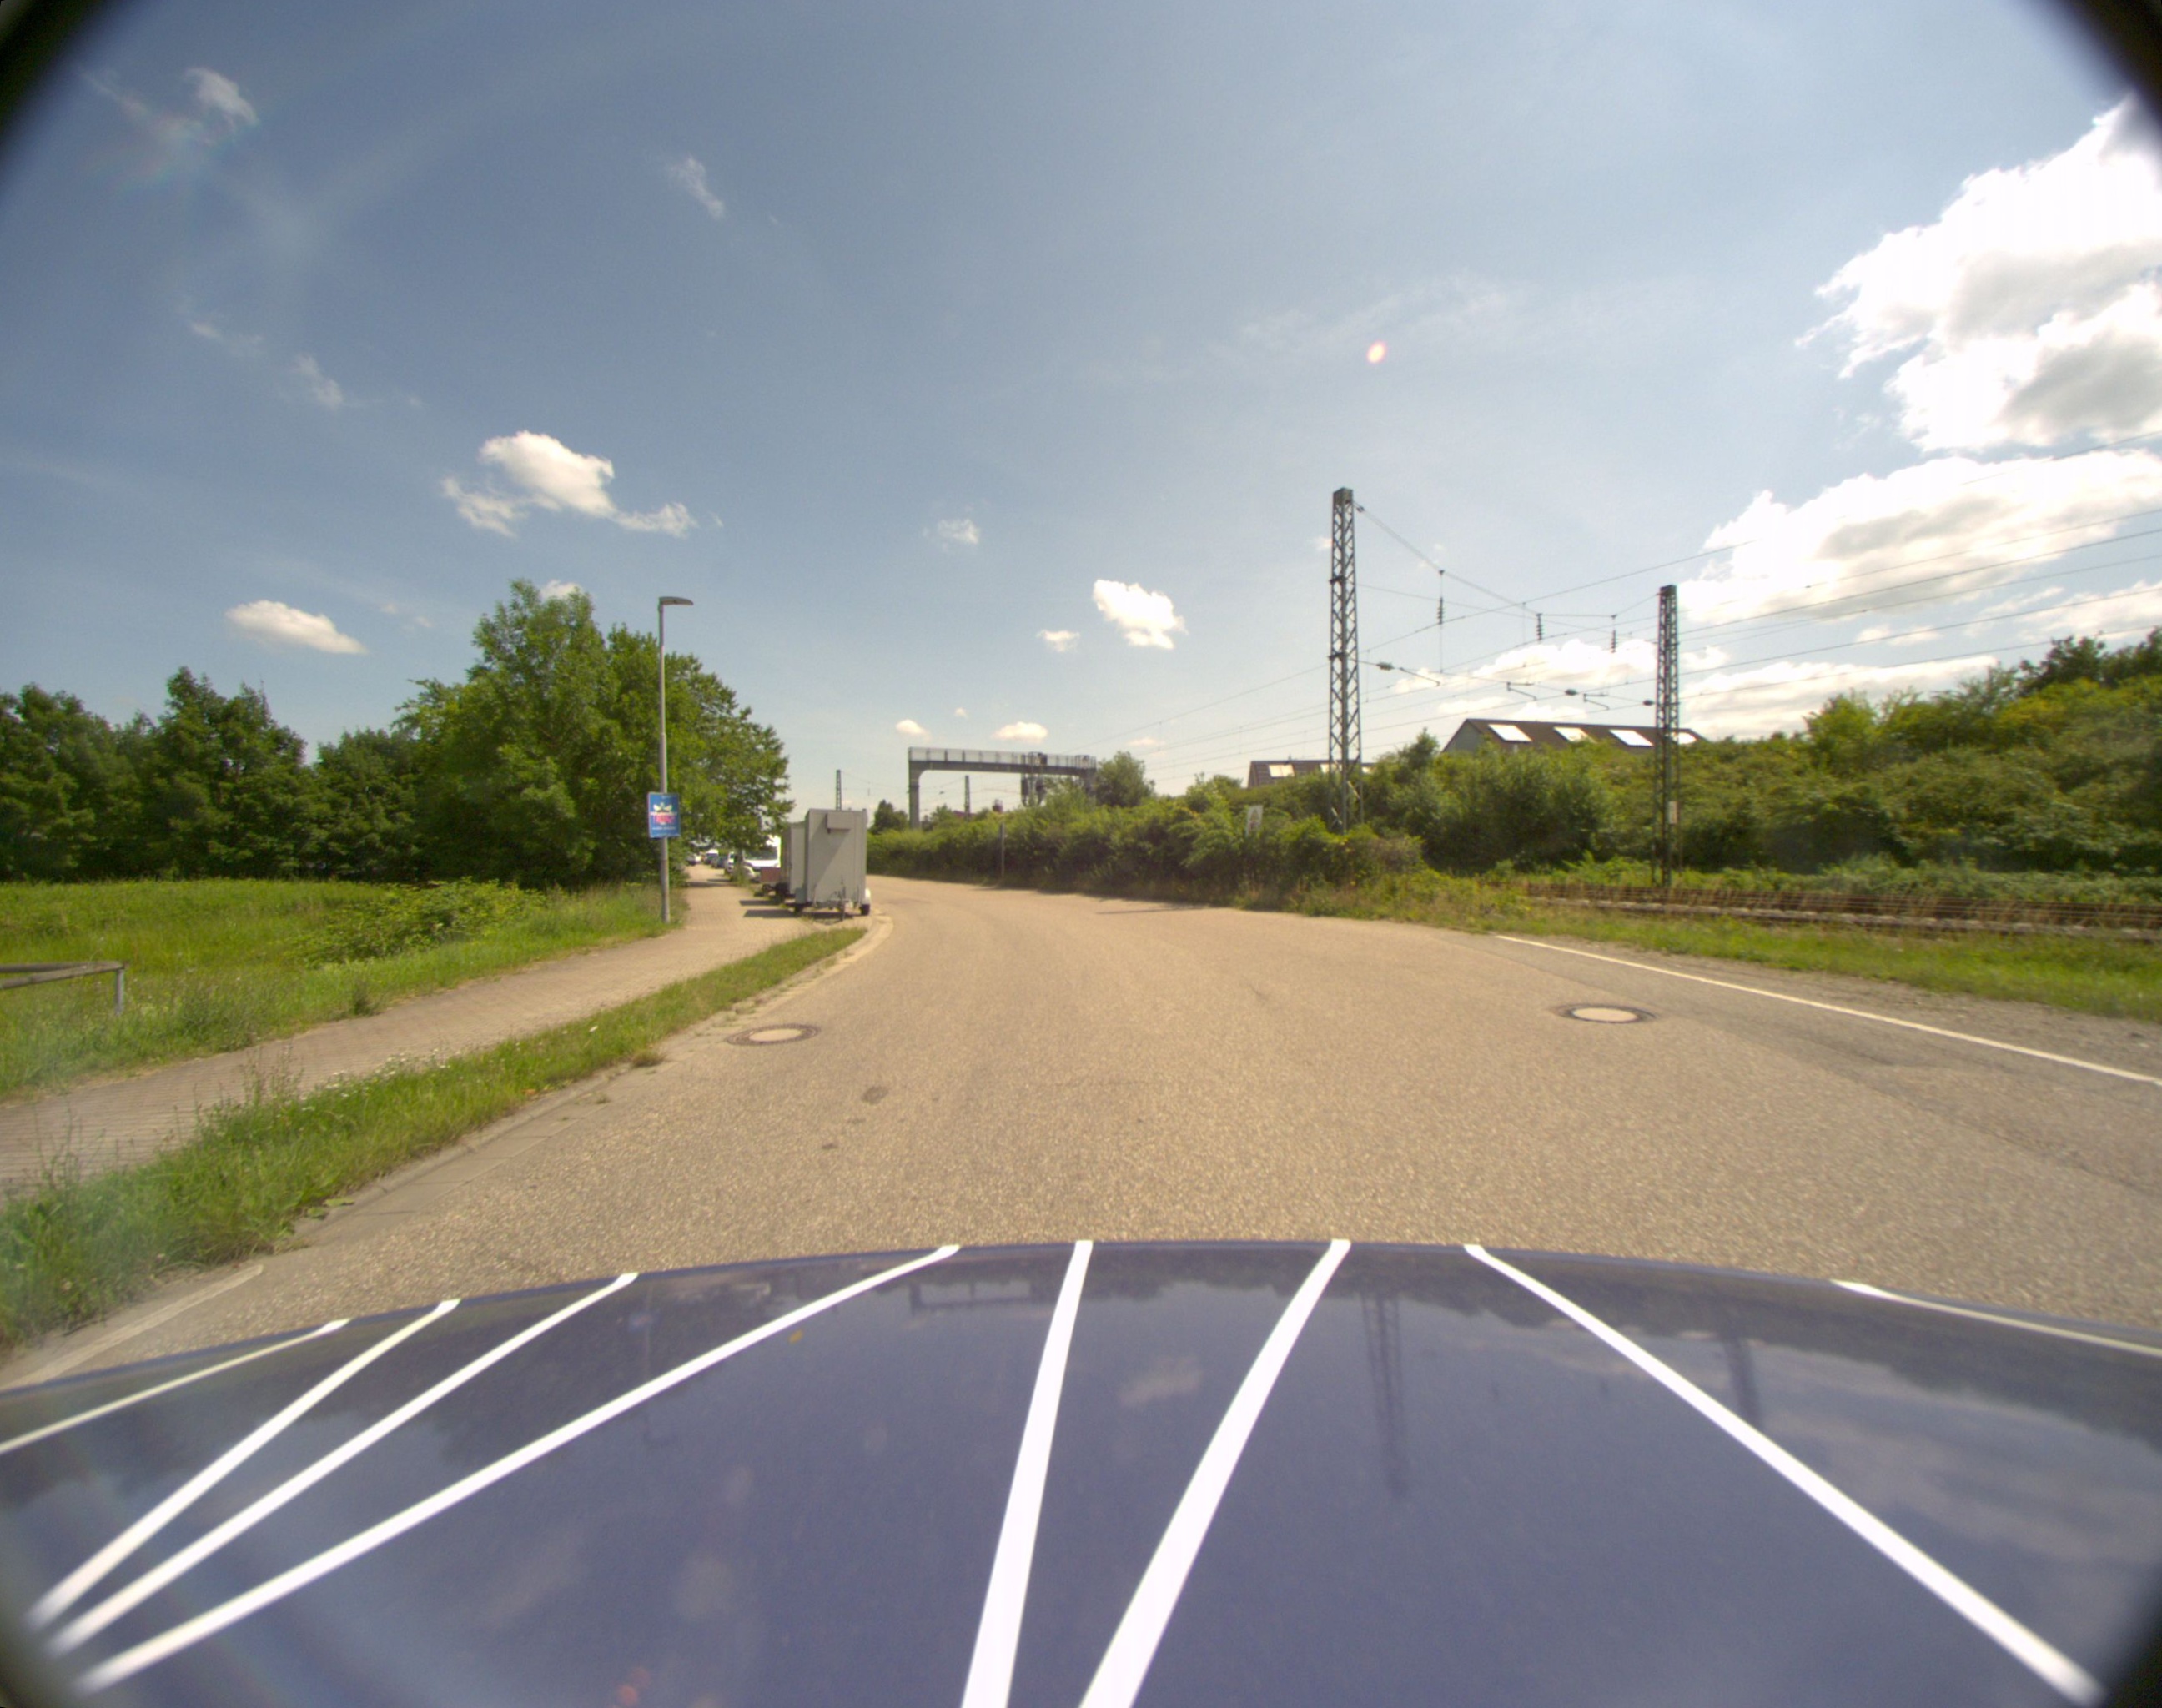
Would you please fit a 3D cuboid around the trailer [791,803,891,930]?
[{"bbox_3d":[-5.982,0.284,18.506,1.941,2.628,5.174,2,0,-21],"label":"trailer"}]

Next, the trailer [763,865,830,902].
[{"bbox_3d":[-10.582,1.035,28.037,2.014,1.116,4.479,2,0,-24],"label":"trailer"}]

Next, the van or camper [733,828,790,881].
[{"bbox_3d":[-18.757,0.038,44.367,2.451,2.810,7.605,1,0,-27],"label":"van or camper"}]

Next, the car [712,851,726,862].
[{"bbox_3d":[-56.028,0.398,117.454,1.809,1.692,3.991,1,0,-27],"label":"car"}]

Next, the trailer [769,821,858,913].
[{"bbox_3d":[-8.240,0.366,23.119,1.928,2.493,4.730,2,0,-27],"label":"trailer"}]
